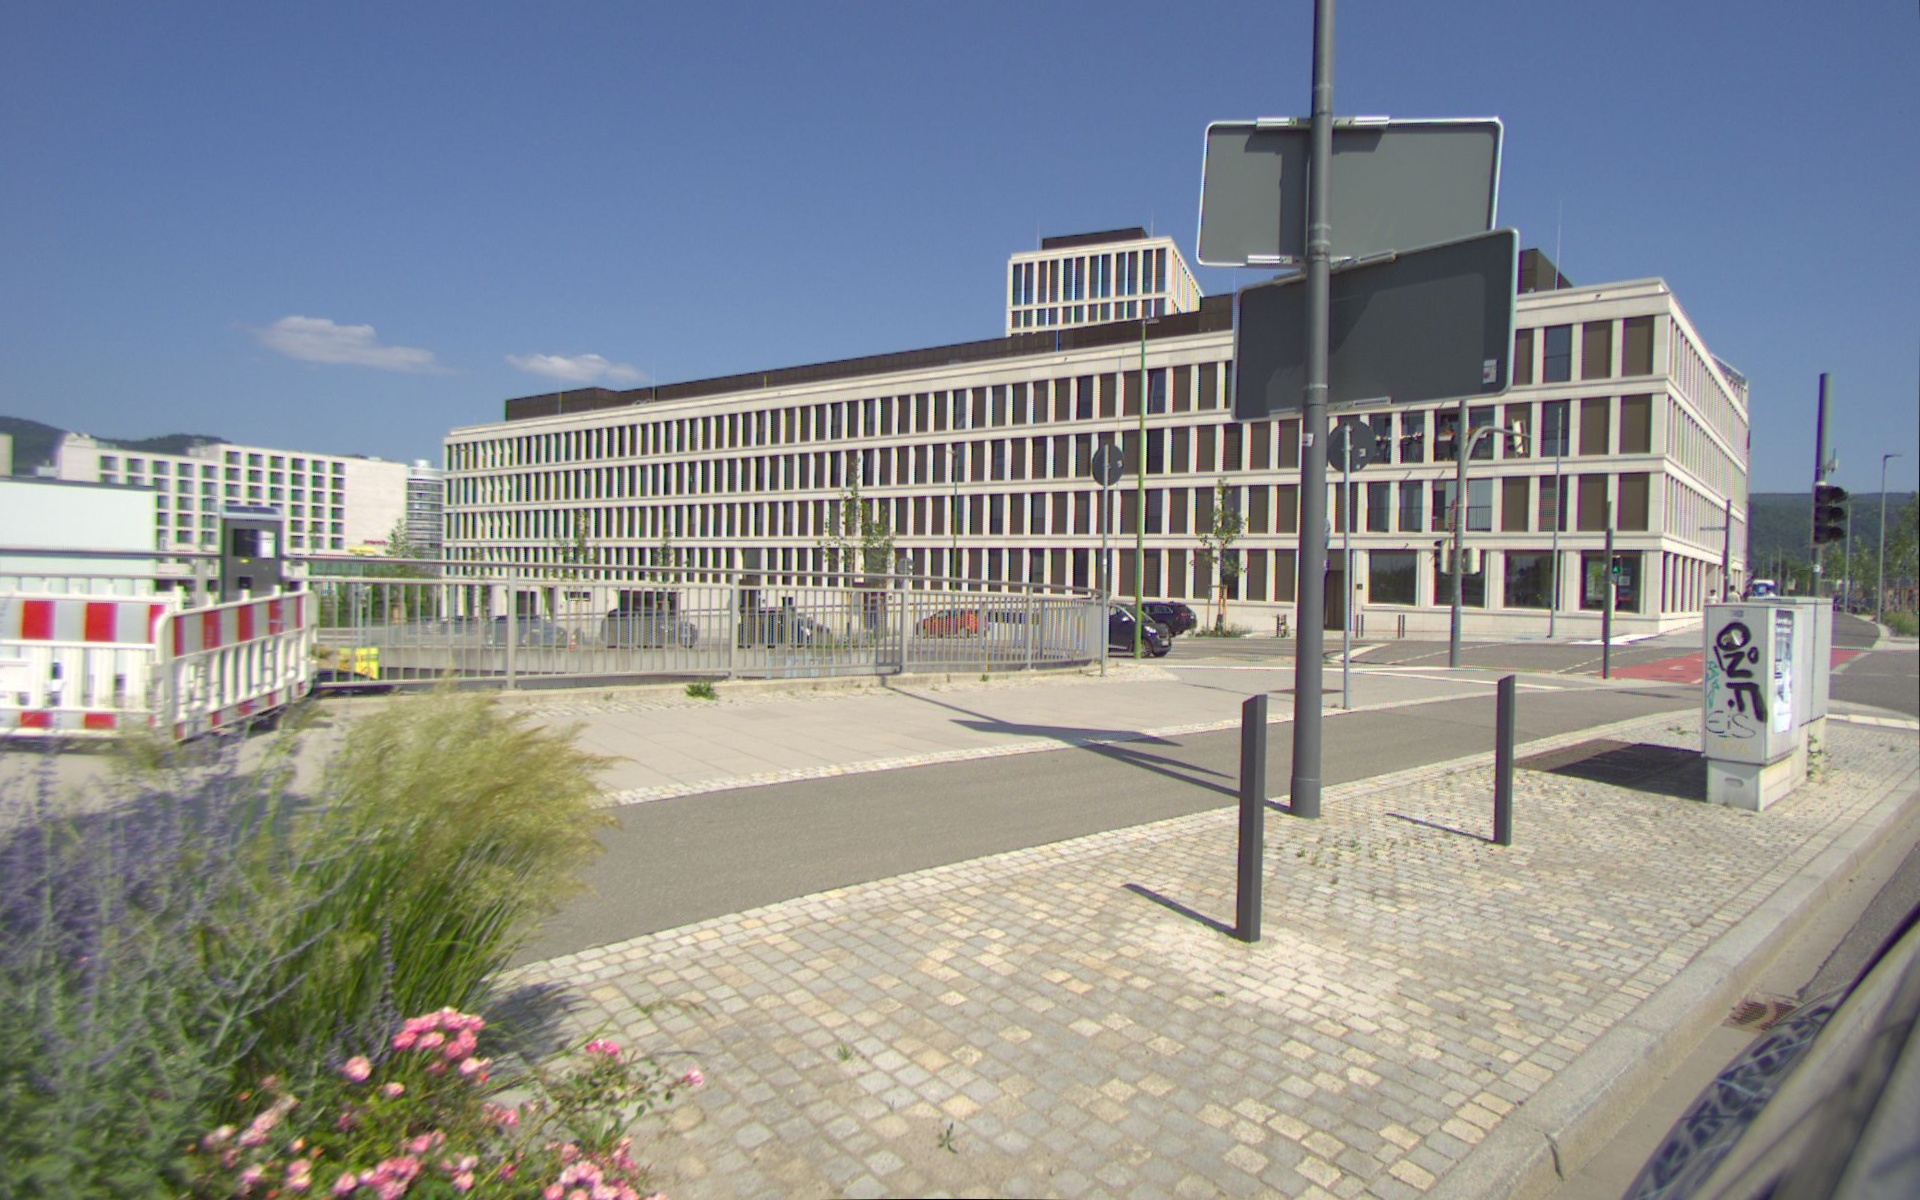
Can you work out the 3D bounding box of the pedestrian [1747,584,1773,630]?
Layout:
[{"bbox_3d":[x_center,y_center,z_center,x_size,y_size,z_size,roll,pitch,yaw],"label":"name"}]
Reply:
[{"bbox_3d":[30.802,0.276,38.941,0.700,1.745,0.783,-1,-1,44],"label":"pedestrian"}]

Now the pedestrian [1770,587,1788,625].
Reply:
[{"bbox_3d":[38.590,0.278,47.692,0.577,1.741,0.982,2,2,42],"label":"pedestrian"}]

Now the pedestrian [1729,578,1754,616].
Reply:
[{"bbox_3d":[37.236,-0.150,48.230,0.824,1.805,0.913,2,2,42],"label":"pedestrian"}]

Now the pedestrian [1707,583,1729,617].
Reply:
[{"bbox_3d":[36.442,-0.024,48.646,0.768,1.585,0.829,2,2,42],"label":"pedestrian"}]

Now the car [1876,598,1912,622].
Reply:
[{"bbox_3d":[66.745,0.718,72.373,1.804,1.526,3.940,0,2,42],"label":"car"}]

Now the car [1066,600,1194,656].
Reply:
[{"bbox_3d":[4.803,0.768,28.833,3.302,1.482,1.460,-1,0,-3],"label":"car"}]

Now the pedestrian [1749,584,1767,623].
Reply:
[{"bbox_3d":[37.232,0.171,47.203,0.577,1.762,0.981,1,-1,42],"label":"pedestrian"}]

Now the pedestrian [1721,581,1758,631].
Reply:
[{"bbox_3d":[29.711,0.230,38.568,0.877,1.850,1.638,-4,-3,44],"label":"pedestrian"}]
